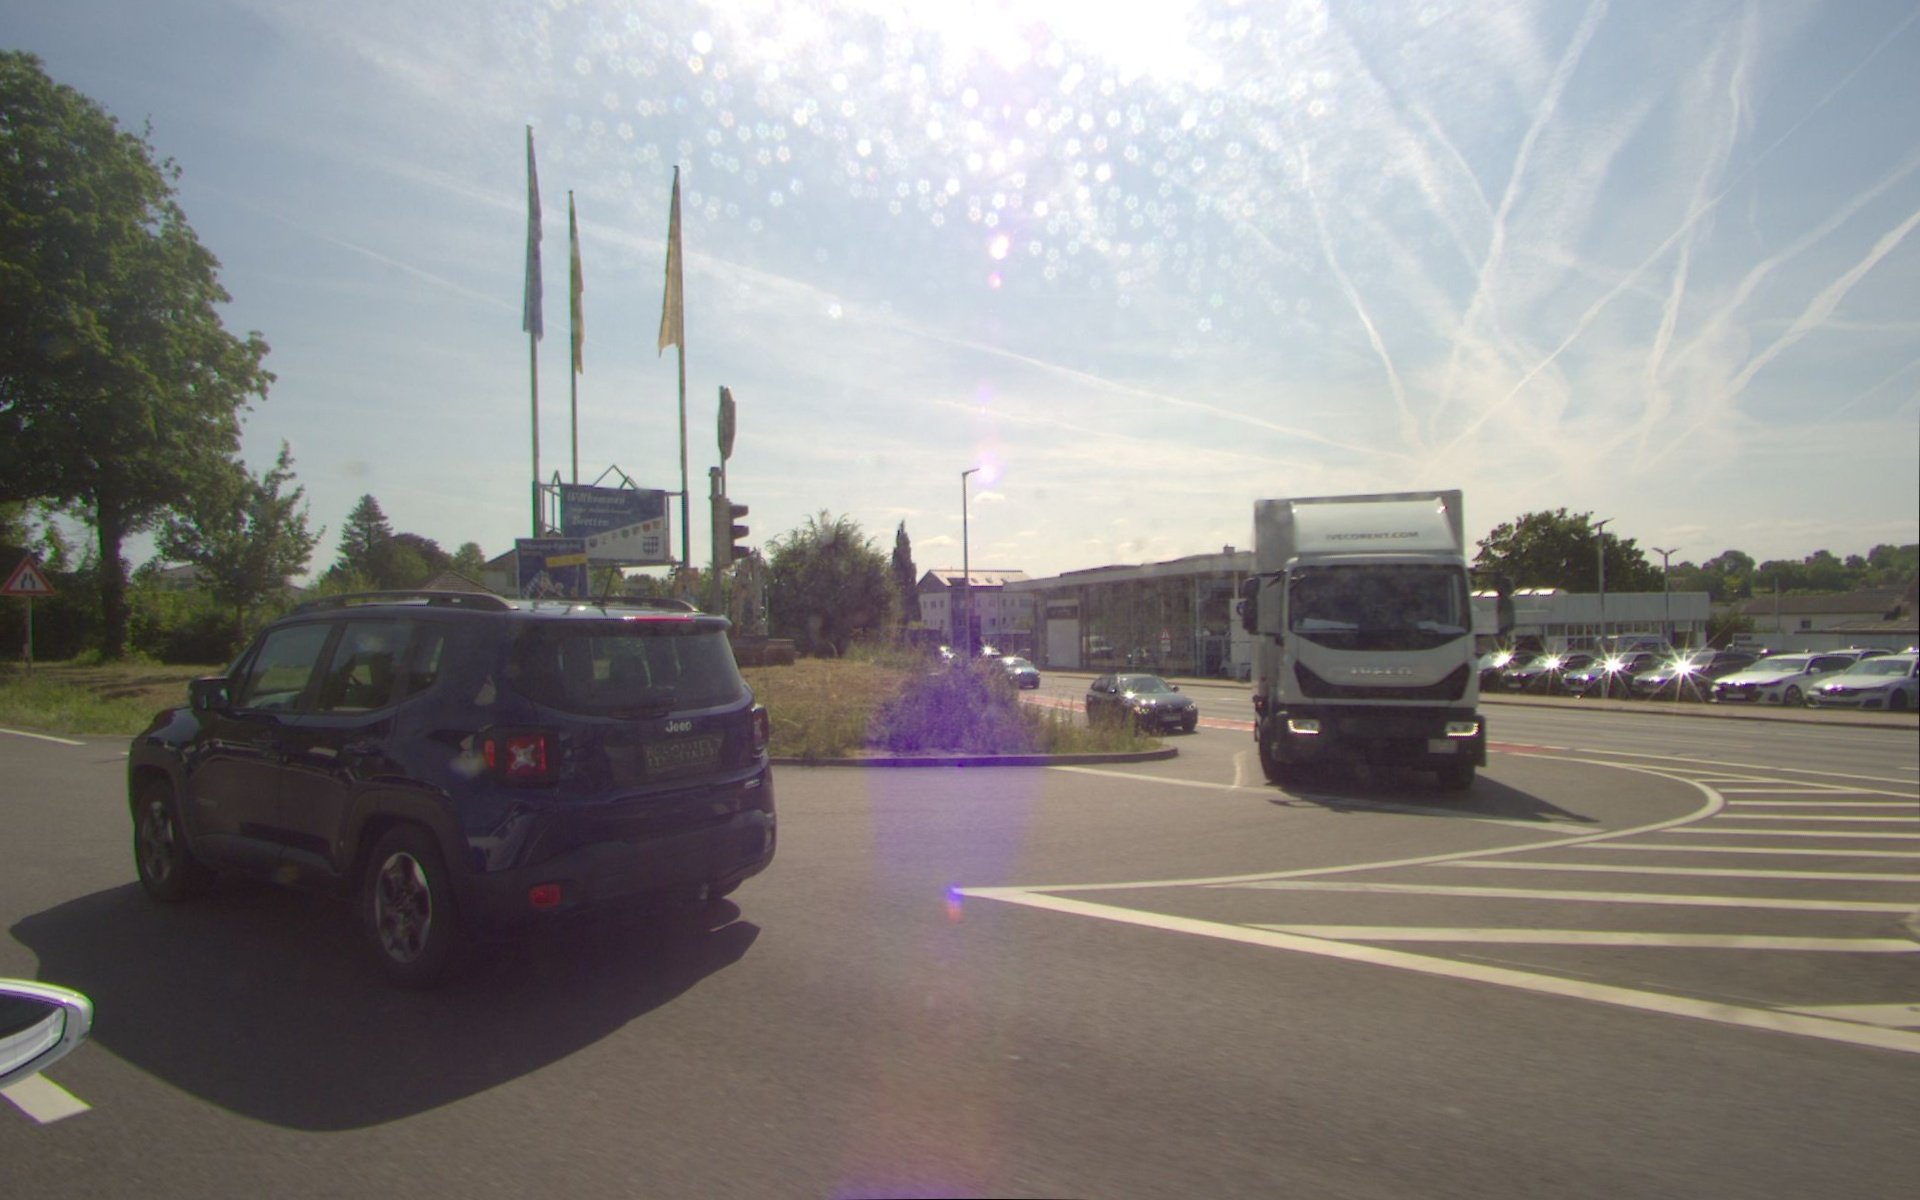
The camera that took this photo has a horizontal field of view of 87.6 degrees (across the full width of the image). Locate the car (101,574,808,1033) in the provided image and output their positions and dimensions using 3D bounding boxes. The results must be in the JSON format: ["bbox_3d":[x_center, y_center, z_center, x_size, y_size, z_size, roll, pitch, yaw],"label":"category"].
[{"bbox_3d":[-2.907,0.770,5.498,3.946,1.676,1.765,-1,0,34],"label":"car"}]

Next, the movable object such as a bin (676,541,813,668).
[{"bbox_3d":[-6.427,0.118,29.080,2.852,3.250,6.686,-1,0,-21],"label":"movable object such as a bin"}]

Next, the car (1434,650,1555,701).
[{"bbox_3d":[20.507,2.850,38.424,4.016,1.639,2.097,-1,0,-25],"label":"car"}]

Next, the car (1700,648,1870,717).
[{"bbox_3d":[23.986,2.331,29.111,4.402,1.639,2.084,-1,0,-24],"label":"car"}]

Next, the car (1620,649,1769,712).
[{"bbox_3d":[23.010,2.477,31.384,3.970,1.639,2.084,-1,0,-24],"label":"car"}]

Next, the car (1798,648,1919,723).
[{"bbox_3d":[24.892,2.215,26.777,4.405,1.639,1.994,-1,0,-22],"label":"car"}]

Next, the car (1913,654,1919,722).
[{"bbox_3d":[25.419,2.104,24.154,3.931,1.639,1.995,-1,0,-20],"label":"car"}]

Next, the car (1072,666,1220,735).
[{"bbox_3d":[4.723,2.540,26.141,1.965,1.478,4.315,-1,-2,-18],"label":"car"}]

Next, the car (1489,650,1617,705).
[{"bbox_3d":[21.352,2.745,36.078,3.935,1.639,2.084,-1,0,-24],"label":"car"}]

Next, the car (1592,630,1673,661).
[{"bbox_3d":[41.247,2.763,61.425,4.116,1.639,2.005,-1,0,-18],"label":"car"}]

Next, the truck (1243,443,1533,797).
[{"bbox_3d":[5.831,0.632,15.387,2.717,3.670,9.704,-1,-5,15],"label":"truck"}]

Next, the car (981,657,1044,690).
[{"bbox_3d":[2.635,3.758,51.687,1.964,1.478,4.317,-1,-2,-15],"label":"car"}]

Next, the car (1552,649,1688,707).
[{"bbox_3d":[22.199,2.563,33.693,3.863,1.639,2.084,-1,0,-24],"label":"car"}]
